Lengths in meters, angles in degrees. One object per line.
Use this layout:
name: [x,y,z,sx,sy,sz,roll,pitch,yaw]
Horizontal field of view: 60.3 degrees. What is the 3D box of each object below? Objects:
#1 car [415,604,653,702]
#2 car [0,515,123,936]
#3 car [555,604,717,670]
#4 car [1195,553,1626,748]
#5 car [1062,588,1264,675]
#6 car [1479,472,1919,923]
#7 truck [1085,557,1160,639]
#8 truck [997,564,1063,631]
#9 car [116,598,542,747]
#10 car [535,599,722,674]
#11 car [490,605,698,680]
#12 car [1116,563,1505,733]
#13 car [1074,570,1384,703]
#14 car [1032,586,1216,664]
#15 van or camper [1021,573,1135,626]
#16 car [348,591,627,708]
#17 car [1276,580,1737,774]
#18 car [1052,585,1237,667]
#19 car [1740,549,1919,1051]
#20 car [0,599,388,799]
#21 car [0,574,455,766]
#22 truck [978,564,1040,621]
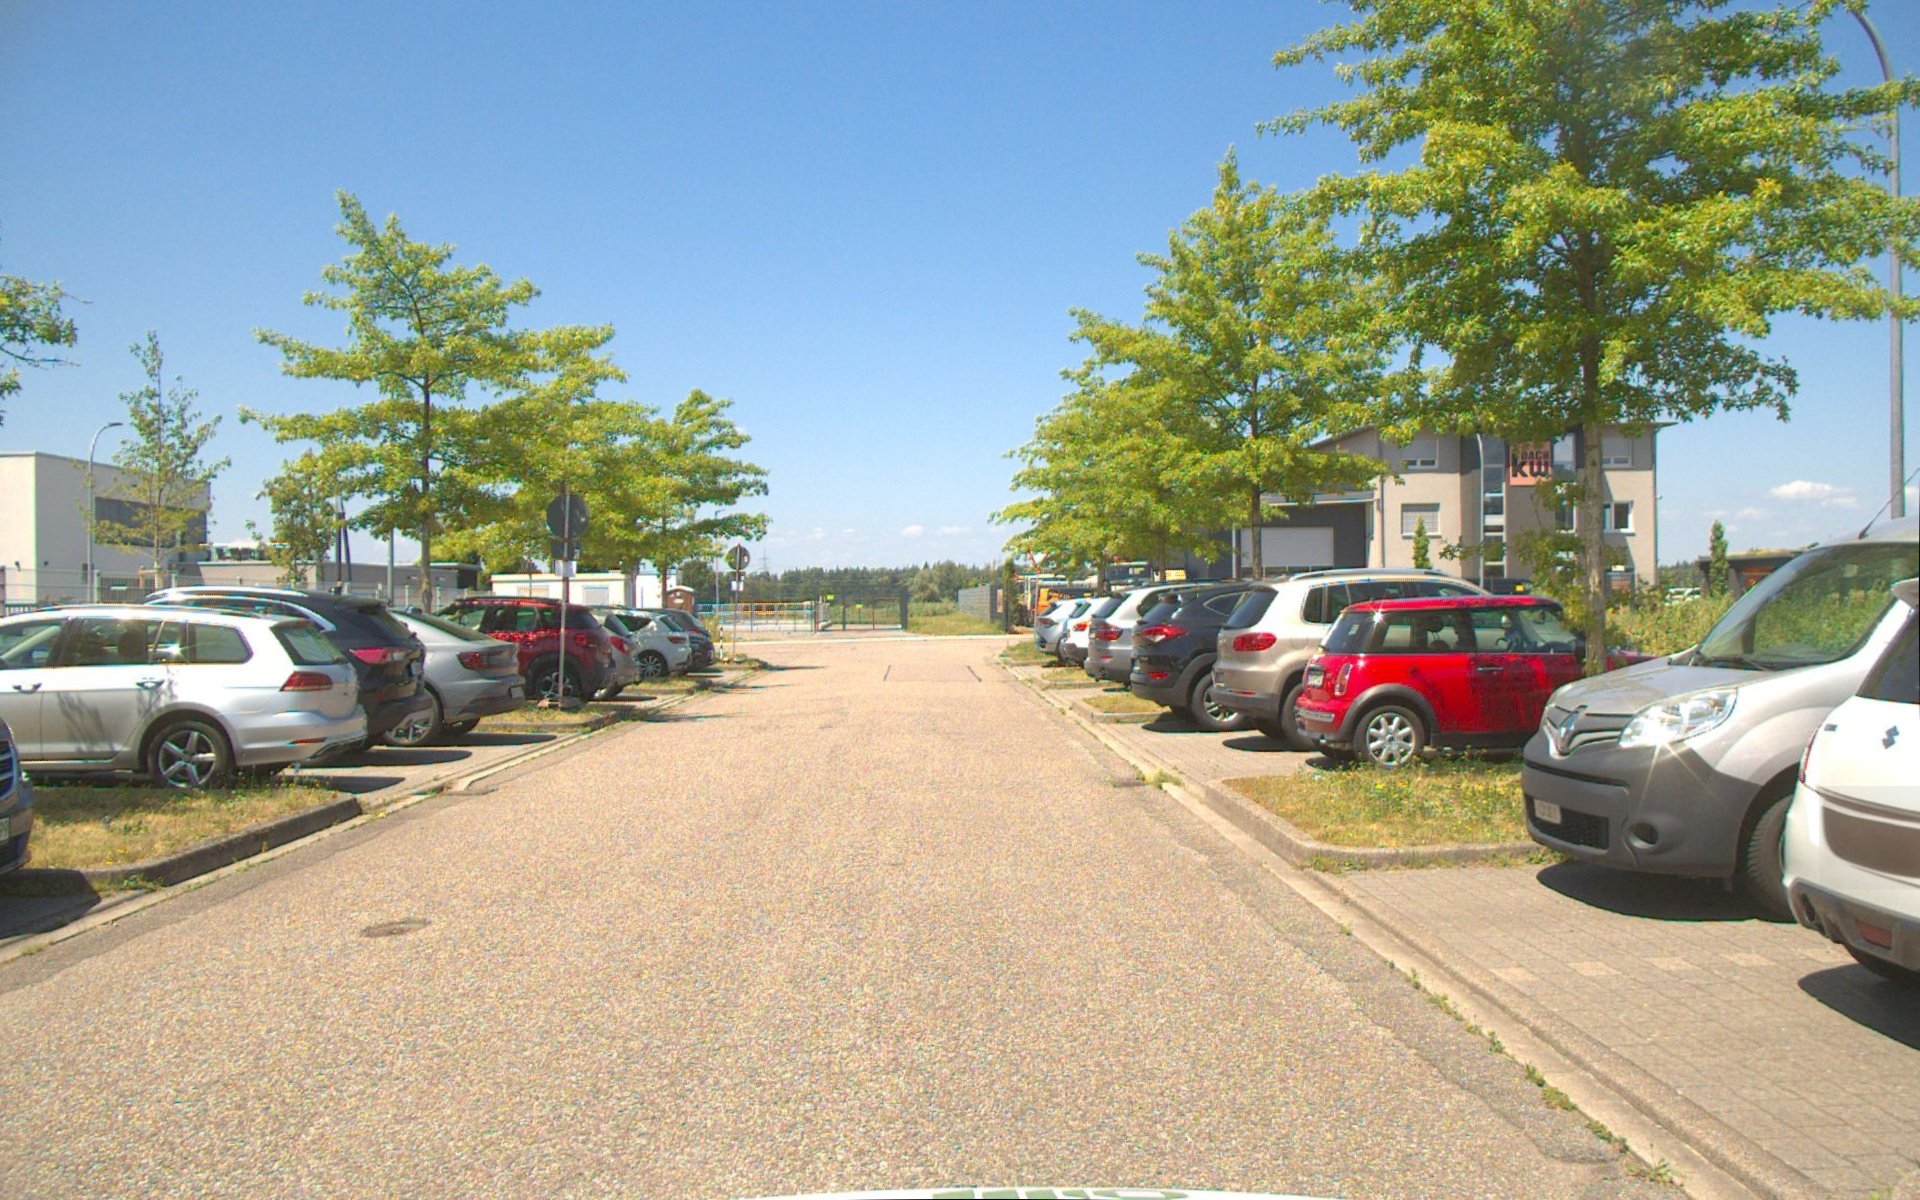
car: [-7.030,0.870,27.598,3.585,1.535,1.729,1,0,-6]
car: [-6.866,0.546,7.616,4.966,1.925,1.997,1,0,0]
car: [-7.628,0.860,39.192,3.554,1.461,1.725,1,-1,-5]
car: [4.426,0.480,16.656,3.797,1.707,1.782,-2,0,-2]
car: [4.239,0.671,34.985,3.986,1.636,1.901,-2,-1,-1]
car: [4.967,0.353,7.960,4.313,1.862,1.795,-2,0,-1]
truck: [8.339,-0.107,85.554,2.863,3.998,6.932,-1,0,-2]
truck: [3.413,-0.125,82.068,2.672,3.115,6.932,-1,0,-2]
car: [-7.006,0.786,18.677,4.108,1.506,1.712,1,0,-1]
car: [-7.339,0.798,36.919,3.850,1.547,1.783,1,-1,-5]
car: [-7.554,0.876,34.467,3.996,1.449,1.871,1,-1,-5]
car: [4.008,0.529,19.350,4.090,1.726,1.781,-2,0,-3]
car: [4.095,0.542,25.664,4.361,1.799,1.991,-2,0,-4]
car: [3.915,0.604,39.972,4.193,1.673,1.850,-2,0,-2]
van or camper: [5.200,-0.031,73.337,4.837,2.201,1.999,-1,1,-3]
car: [-7.051,0.726,24.982,3.661,1.650,1.816,1,0,-1]
car: [4.655,0.628,14.438,3.388,1.441,1.754,-2,0,-2]
car: [4.131,0.574,37.471,3.907,1.673,1.837,-2,0,-3]
car: [4.674,0.538,5.257,3.557,1.529,1.676,-2,0,-1]
car: [-6.953,0.764,13.555,3.958,1.486,1.603,2,0,-5]
car: [-7.170,0.661,16.241,3.911,1.708,1.775,2,-1,-7]
truck: [2.641,-0.389,90.962,2.863,2.989,6.932,-1,0,-2]
